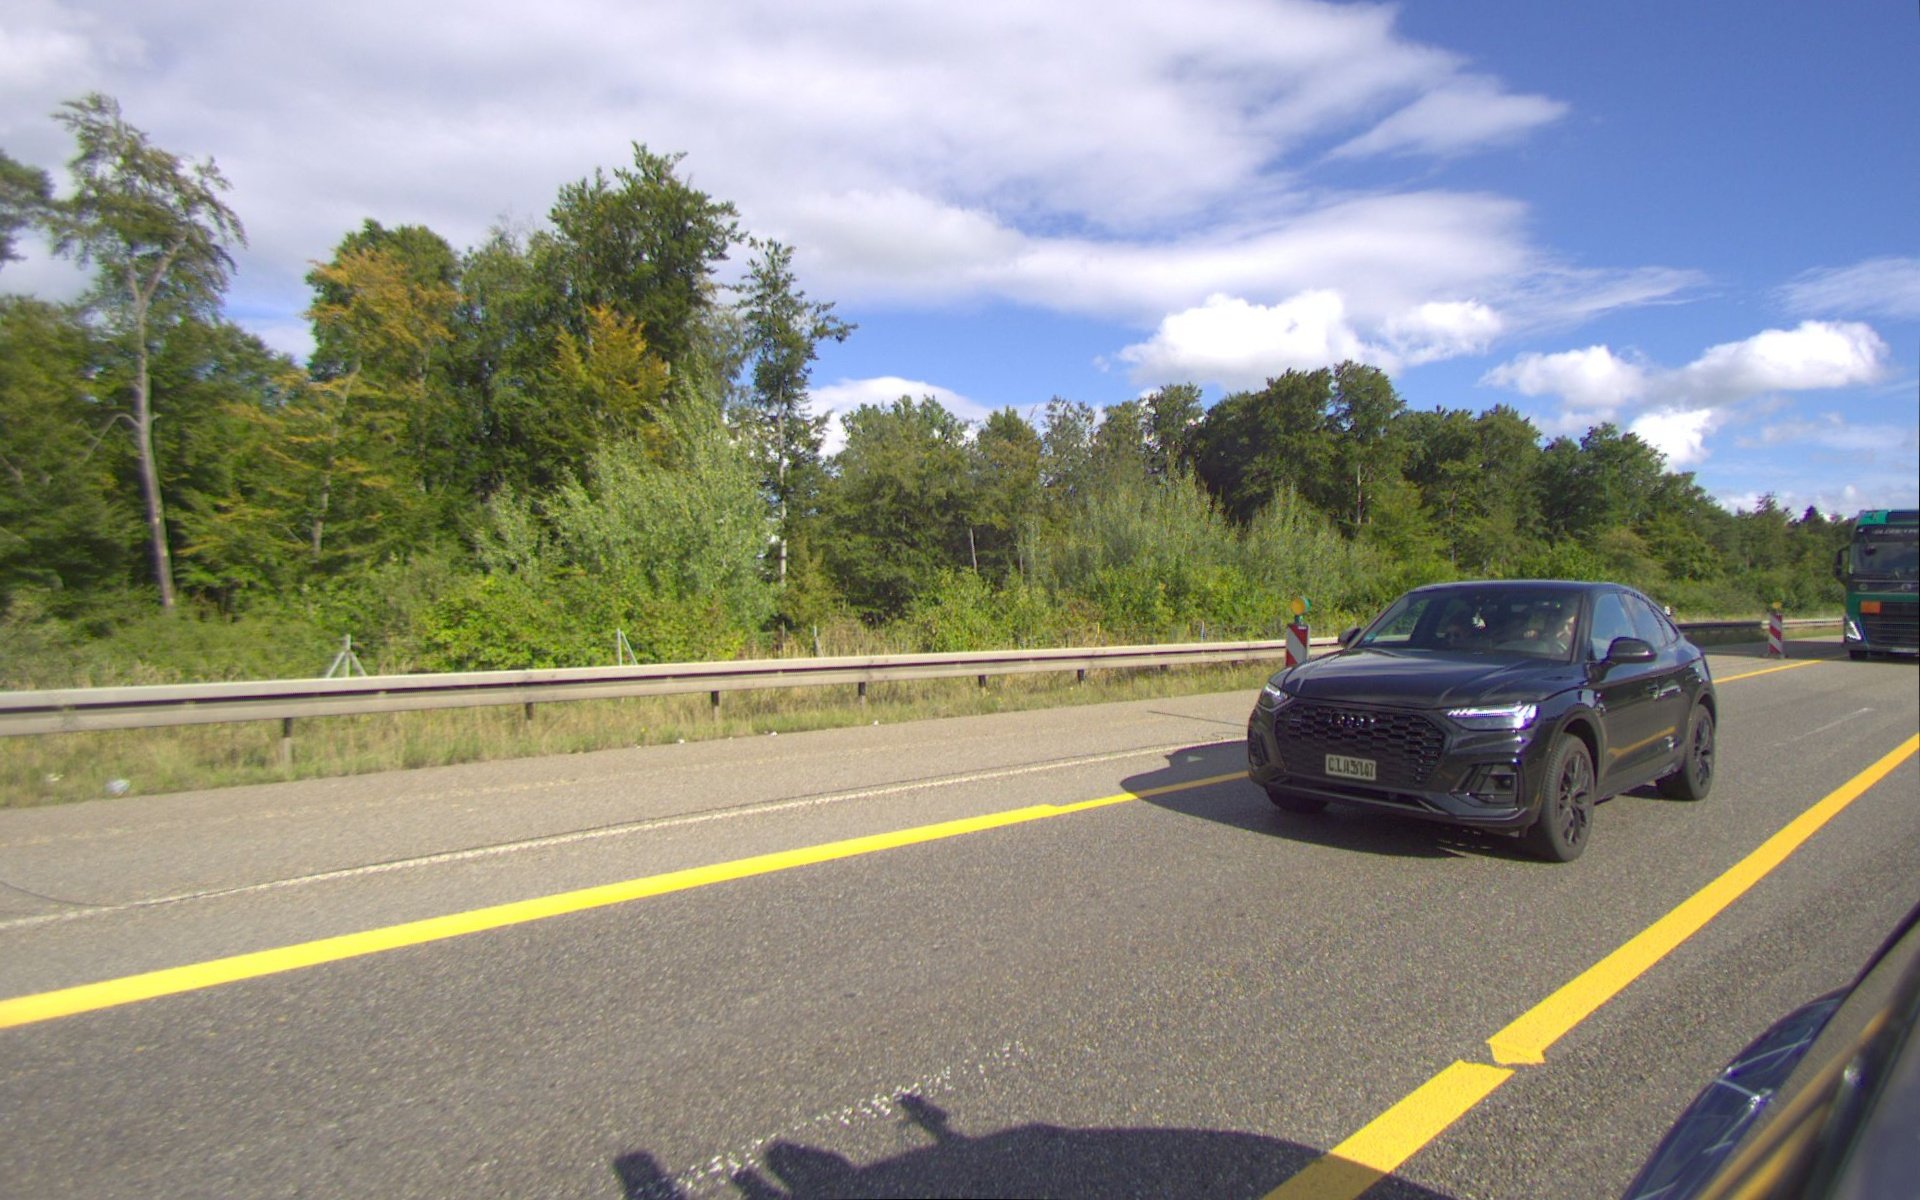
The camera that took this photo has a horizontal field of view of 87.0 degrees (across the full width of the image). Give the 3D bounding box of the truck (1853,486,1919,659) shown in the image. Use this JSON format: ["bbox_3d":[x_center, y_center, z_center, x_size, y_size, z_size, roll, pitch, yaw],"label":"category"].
[{"bbox_3d":[25.613,-0.686,26.429,6.736,4.151,2.526,-1,0,-41],"label":"truck"}]

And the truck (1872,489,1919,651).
[{"bbox_3d":[30.415,-0.743,30.610,13.960,4.196,2.468,0,-1,-41],"label":"truck"}]

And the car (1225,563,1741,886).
[{"bbox_3d":[3.868,0.606,7.148,4.218,1.623,1.781,-1,0,-40],"label":"car"}]
